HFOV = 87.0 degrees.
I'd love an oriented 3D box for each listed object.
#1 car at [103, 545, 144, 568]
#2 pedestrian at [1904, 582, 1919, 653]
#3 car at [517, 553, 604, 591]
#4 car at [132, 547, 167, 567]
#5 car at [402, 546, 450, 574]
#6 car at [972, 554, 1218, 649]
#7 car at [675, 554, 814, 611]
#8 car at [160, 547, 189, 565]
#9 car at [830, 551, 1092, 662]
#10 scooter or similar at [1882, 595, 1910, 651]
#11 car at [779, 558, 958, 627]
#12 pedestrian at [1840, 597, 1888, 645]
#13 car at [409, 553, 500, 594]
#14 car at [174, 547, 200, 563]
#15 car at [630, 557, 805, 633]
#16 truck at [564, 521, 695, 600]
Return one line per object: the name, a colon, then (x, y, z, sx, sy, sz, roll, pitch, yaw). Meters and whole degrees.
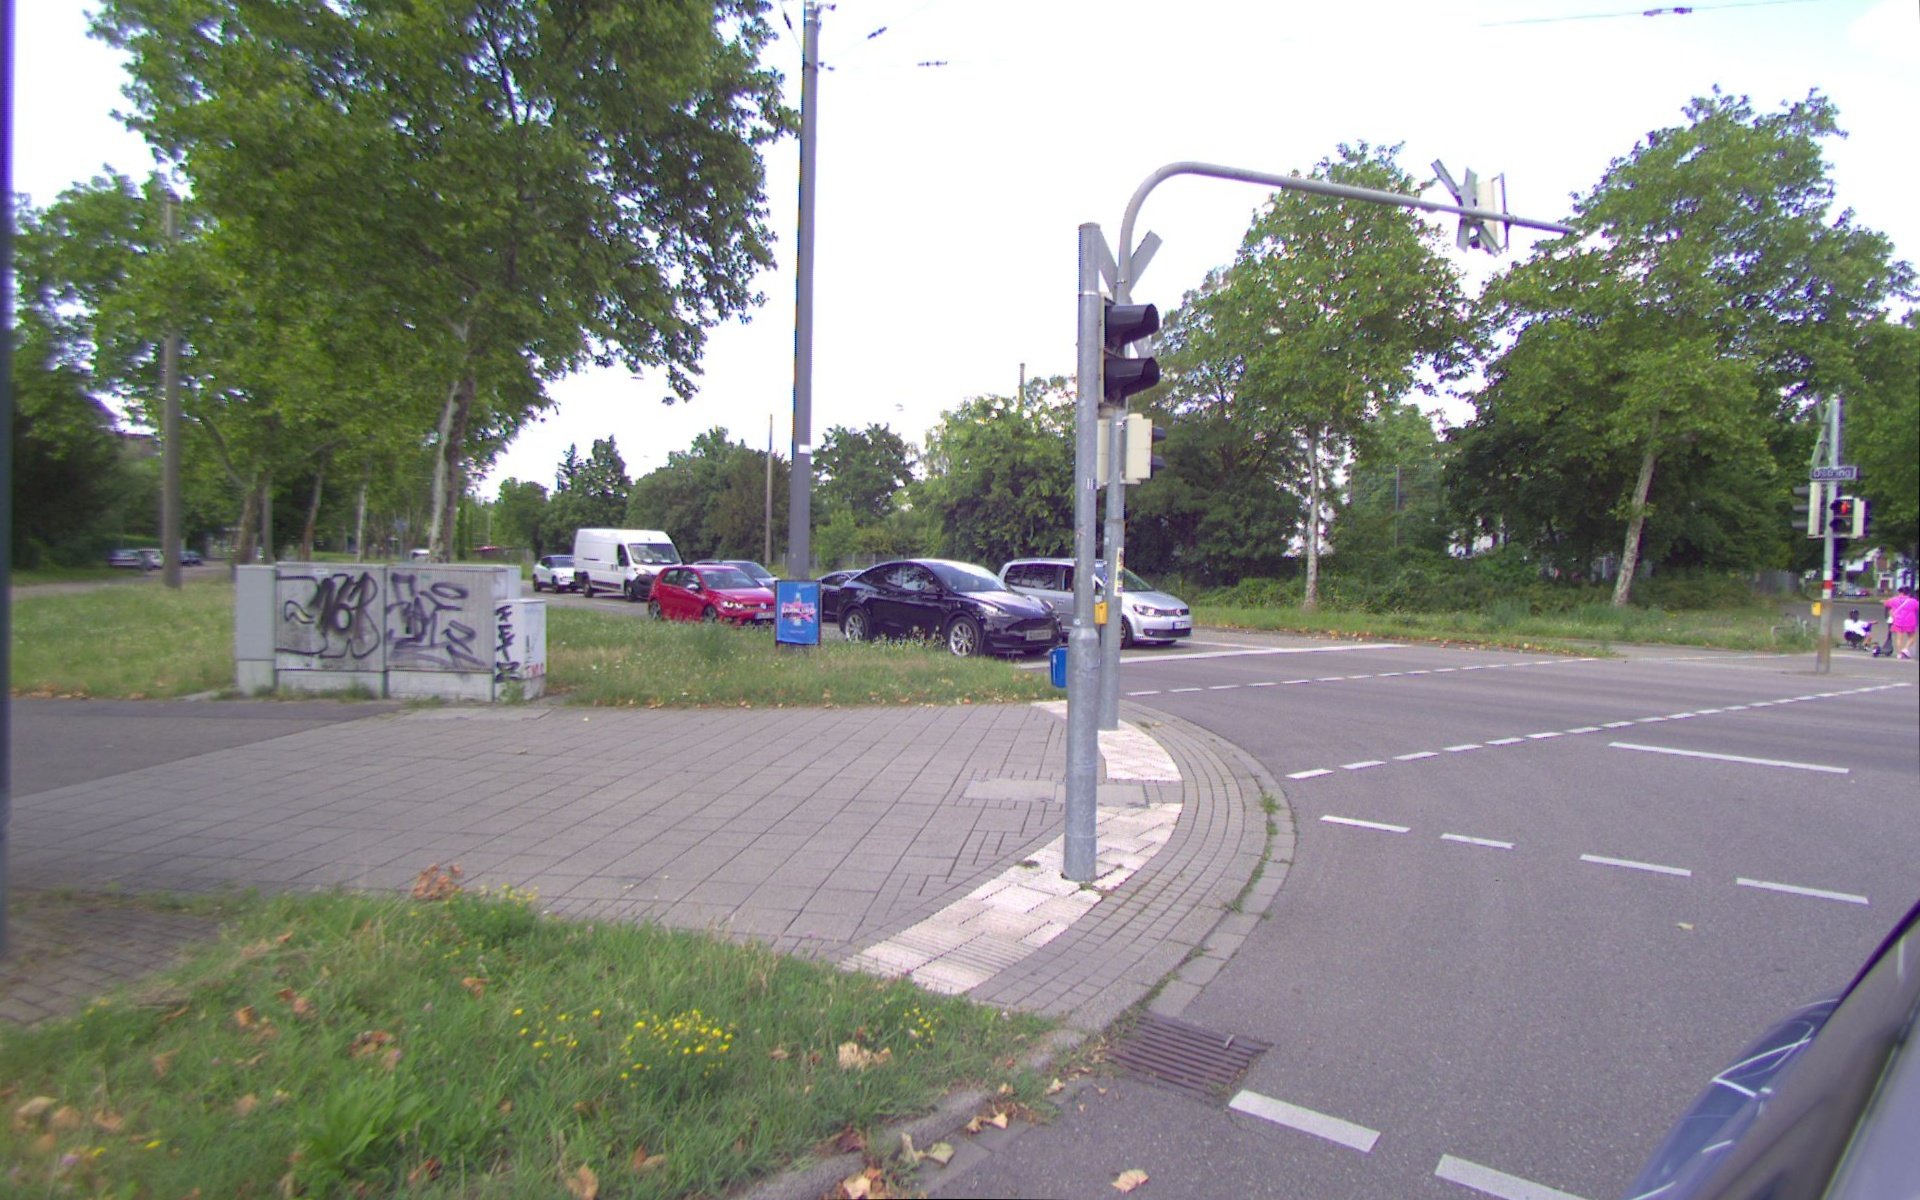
car: (-53.681, -2.822, 64.958, 1.646, 1.408, 3.309, 0, 2, -33)
pedestrian: (20.738, 0.375, 21.867, 0.386, 1.526, 0.418, 0, 2, -43)
car: (-17.163, -1.234, 43.361, 1.966, 1.531, 4.679, -2, 3, -42)
car: (-58.373, -3.104, 72.906, 1.646, 1.408, 3.309, 0, 2, -33)
car: (-34.828, -2.631, 66.012, 1.965, 1.727, 3.996, 0, 3, -40)
car: (2.552, -0.076, 20.081, 1.966, 1.630, 4.679, -2, 3, -42)
car: (-6.464, -0.585, 30.047, 1.966, 1.531, 4.679, -2, 3, -42)
car: (-66.898, -3.762, 86.242, 1.646, 1.408, 3.309, 0, 2, -33)
car: (-0.128, -0.009, 17.634, 1.966, 1.630, 4.680, -2, 3, -41)
scooter or similar: (20.644, 0.486, 22.313, 0.394, 1.175, 1.099, 3, 2, 44)
car: (-2.359, -0.273, 24.952, 1.966, 1.487, 4.741, -2, 3, -42)
pedestrian: (21.086, 0.481, 23.608, 0.886, 1.047, 0.721, 0, 2, -42)
car: (-20.536, -1.112, 41.026, 1.967, 1.531, 4.676, -2, 3, -44)
car: (-71.087, -4.110, 93.101, 1.646, 1.408, 3.309, 0, 2, -33)
car: (-5.712, -0.204, 23.439, 1.966, 1.531, 4.679, -2, 3, -42)
truck: (-12.140, -1.461, 36.867, 2.178, 2.628, 6.500, 0, 2, -41)
